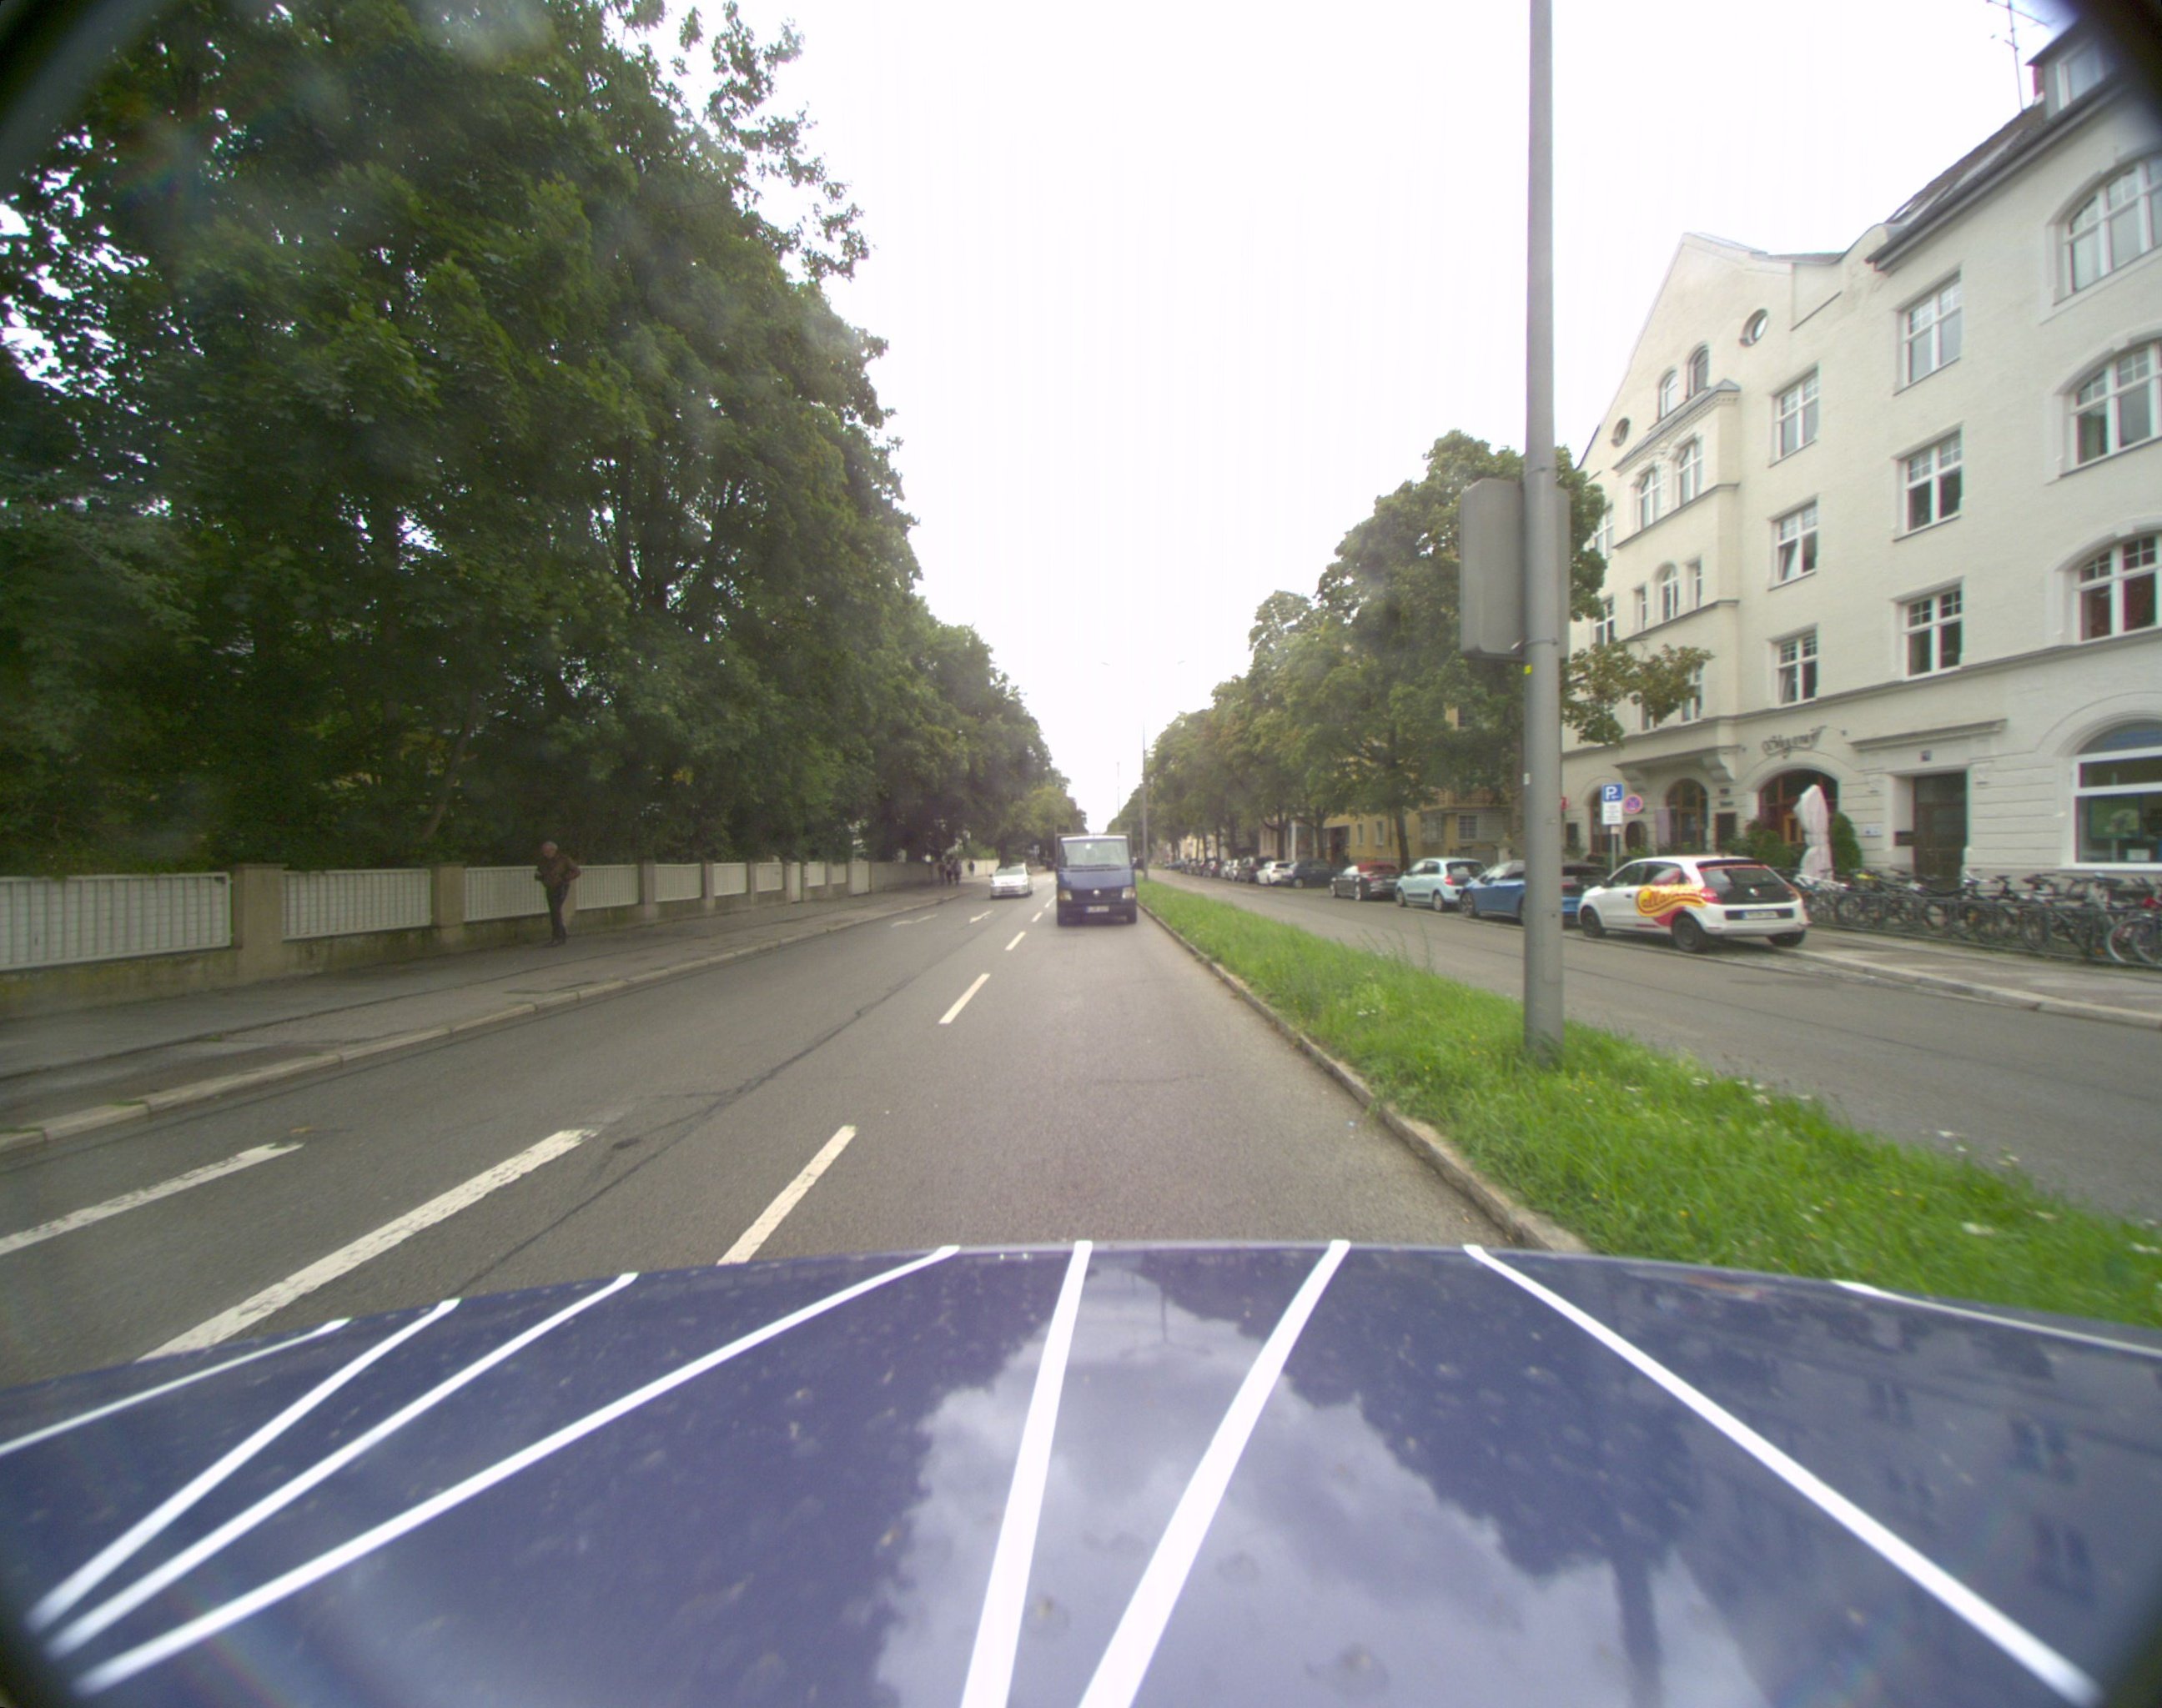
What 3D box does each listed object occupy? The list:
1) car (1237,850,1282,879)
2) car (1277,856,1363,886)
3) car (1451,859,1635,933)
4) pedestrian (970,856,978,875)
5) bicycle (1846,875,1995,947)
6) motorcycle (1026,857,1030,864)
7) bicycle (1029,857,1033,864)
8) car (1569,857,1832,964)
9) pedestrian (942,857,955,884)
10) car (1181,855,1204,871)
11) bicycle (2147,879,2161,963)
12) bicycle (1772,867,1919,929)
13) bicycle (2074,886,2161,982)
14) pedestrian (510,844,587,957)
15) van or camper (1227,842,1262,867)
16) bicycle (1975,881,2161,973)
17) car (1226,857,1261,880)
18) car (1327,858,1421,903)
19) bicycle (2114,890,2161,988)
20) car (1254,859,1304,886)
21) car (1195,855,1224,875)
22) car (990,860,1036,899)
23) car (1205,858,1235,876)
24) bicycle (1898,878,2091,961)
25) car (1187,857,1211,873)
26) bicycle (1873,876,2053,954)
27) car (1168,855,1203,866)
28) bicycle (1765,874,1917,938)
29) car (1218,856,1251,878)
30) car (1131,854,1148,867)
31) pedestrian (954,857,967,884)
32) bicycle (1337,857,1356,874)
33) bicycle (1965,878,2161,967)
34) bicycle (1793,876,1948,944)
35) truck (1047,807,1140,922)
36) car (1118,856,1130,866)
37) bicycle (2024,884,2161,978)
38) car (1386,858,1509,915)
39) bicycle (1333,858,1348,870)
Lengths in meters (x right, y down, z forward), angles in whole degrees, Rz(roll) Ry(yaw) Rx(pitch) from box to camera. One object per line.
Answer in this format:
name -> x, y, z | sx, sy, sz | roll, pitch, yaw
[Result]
car -> 11.361, 0.649, 48.594 | 1.815, 1.718, 4.767 | -1, 0, 1
car -> 12.402, 0.886, 39.578 | 3.899, 1.455, 1.732 | -1, 0, -1
car -> 10.762, 0.892, 18.120 | 1.815, 1.498, 4.291 | -1, 0, 1
pedestrian -> -9.061, 0.976, 64.136 | 0.529, 1.572, 0.729 | 1, 1, 0
bicycle -> 14.198, 0.923, 12.909 | 0.331, 1.109, 1.677 | -1, 0, -27
motorcycle -> -8.398, 0.994, 119.775 | 0.497, 1.135, 1.631 | -1, 0, -9
bicycle -> -8.362, 1.068, 127.305 | 0.490, 1.092, 1.631 | -1, 0, -9
car -> 10.594, 0.869, 13.395 | 1.653, 1.576, 3.790 | -1, 0, 3
pedestrian -> -8.452, 1.055, 48.545 | 0.668, 1.695, 0.766 | 1, 1, 0
car -> 11.564, 0.911, 79.064 | 1.878, 1.677, 4.438 | -1, 0, 1
bicycle -> 14.803, 0.889, 9.503 | 0.331, 1.109, 1.678 | -1, 0, -23
bicycle -> 14.819, 0.823, 14.805 | 0.460, 1.109, 1.962 | -1, 0, -31
bicycle -> 13.062, 0.964, 8.911 | 0.383, 1.109, 1.678 | -1, 0, -23
pedestrian -> -9.439, 0.803, 13.497 | 0.779, 1.931, 0.802 | 0, 1, 1
van or camper -> 17.439, 0.082, 81.612 | 2.351, 2.564, 6.851 | -1, 0, 1
bicycle -> 13.483, 0.947, 10.342 | 0.331, 1.109, 1.678 | -1, 0, -23
car -> 11.309, 1.003, 53.114 | 1.731, 1.548, 3.009 | -1, 0, -1
car -> 10.924, 0.939, 28.681 | 1.815, 1.498, 4.645 | -1, 0, 1
bicycle -> 12.871, 0.989, 8.408 | 0.331, 1.109, 1.678 | -1, 0, -23
car -> 11.139, 0.986, 43.021 | 1.731, 1.394, 4.404 | -1, 0, 1
car -> 11.392, 0.940, 67.575 | 1.883, 1.636, 4.770 | -1, 0, 1
car -> -2.906, 1.050, 32.987 | 1.647, 1.553, 3.586 | -1, 0, 0
car -> 11.324, 1.028, 62.288 | 1.731, 1.397, 4.363 | -1, 0, 1
bicycle -> 13.863, 0.952, 11.612 | 0.331, 1.109, 1.871 | -1, 0, -23
car -> 11.421, 1.032, 73.878 | 1.696, 1.446, 4.492 | -1, 0, 1
bicycle -> 14.053, 0.937, 12.190 | 0.331, 1.109, 1.871 | -1, 0, -23
car -> 13.450, 0.838, 97.722 | 3.989, 1.367, 1.866 | -2, -1, 31
bicycle -> 14.451, 0.949, 14.525 | 0.505, 1.109, 1.984 | -1, 0, -31
car -> 11.564, 0.946, 57.605 | 1.731, 1.552, 4.057 | -1, 0, 1
car -> 7.131, 0.789, 92.512 | 1.880, 1.575, 4.621 | 1, 0, 2
pedestrian -> -7.694, 1.032, 48.597 | 0.668, 1.683, 0.729 | 1, 1, 0
bicycle -> 19.571, 0.819, 56.009 | 0.771, 1.215, 1.931 | -1, 0, 1
bicycle -> 13.777, 0.923, 10.727 | 0.331, 1.109, 1.678 | -1, 0, -23
bicycle -> 14.276, 0.970, 13.802 | 0.550, 1.109, 1.877 | -1, 0, -31
truck -> 0.323, 0.228, 19.074 | 1.998, 2.475, 5.151 | -1, 0, 1
car -> 7.075, 1.163, 125.737 | 1.774, 1.669, 4.369 | 1, 0, 1
bicycle -> 13.281, 0.959, 9.603 | 0.331, 1.109, 1.678 | -1, 0, -23
car -> 10.885, 0.905, 22.900 | 1.815, 1.498, 3.960 | -1, 0, 1
bicycle -> 19.912, 0.780, 58.306 | 0.543, 0.894, 1.931 | -1, 0, 1
